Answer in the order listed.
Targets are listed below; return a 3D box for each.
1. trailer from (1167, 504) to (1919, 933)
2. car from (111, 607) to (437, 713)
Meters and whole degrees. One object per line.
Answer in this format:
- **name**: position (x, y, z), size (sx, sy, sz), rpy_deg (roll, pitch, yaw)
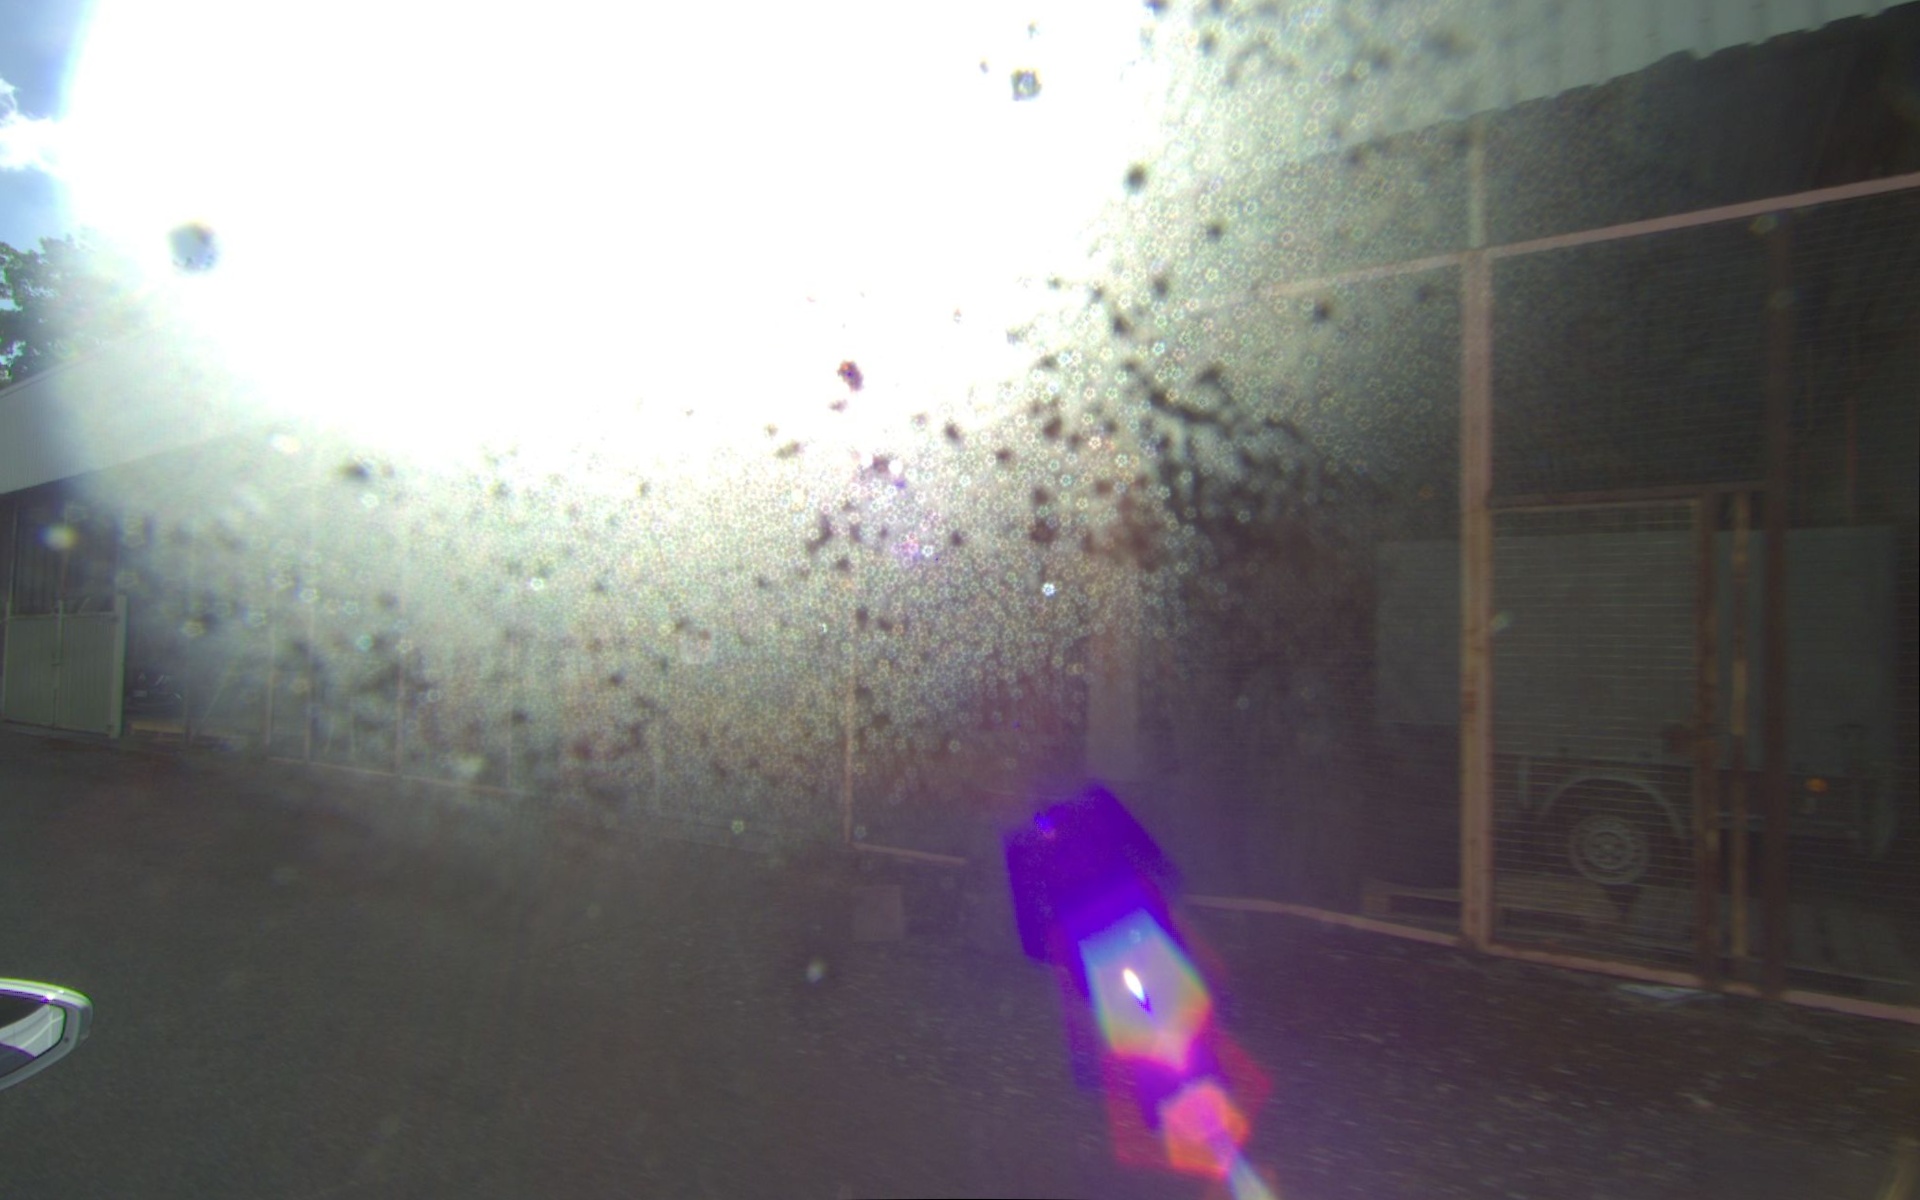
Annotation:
- **trailer**: position (3.625, 0.641, 6.639), size (4.040, 2.084, 1.853), rpy_deg (-1, -2, 32)
- **car**: position (-13.889, 1.213, 20.717), size (1.969, 1.900, 5.237), rpy_deg (0, -3, 27)
